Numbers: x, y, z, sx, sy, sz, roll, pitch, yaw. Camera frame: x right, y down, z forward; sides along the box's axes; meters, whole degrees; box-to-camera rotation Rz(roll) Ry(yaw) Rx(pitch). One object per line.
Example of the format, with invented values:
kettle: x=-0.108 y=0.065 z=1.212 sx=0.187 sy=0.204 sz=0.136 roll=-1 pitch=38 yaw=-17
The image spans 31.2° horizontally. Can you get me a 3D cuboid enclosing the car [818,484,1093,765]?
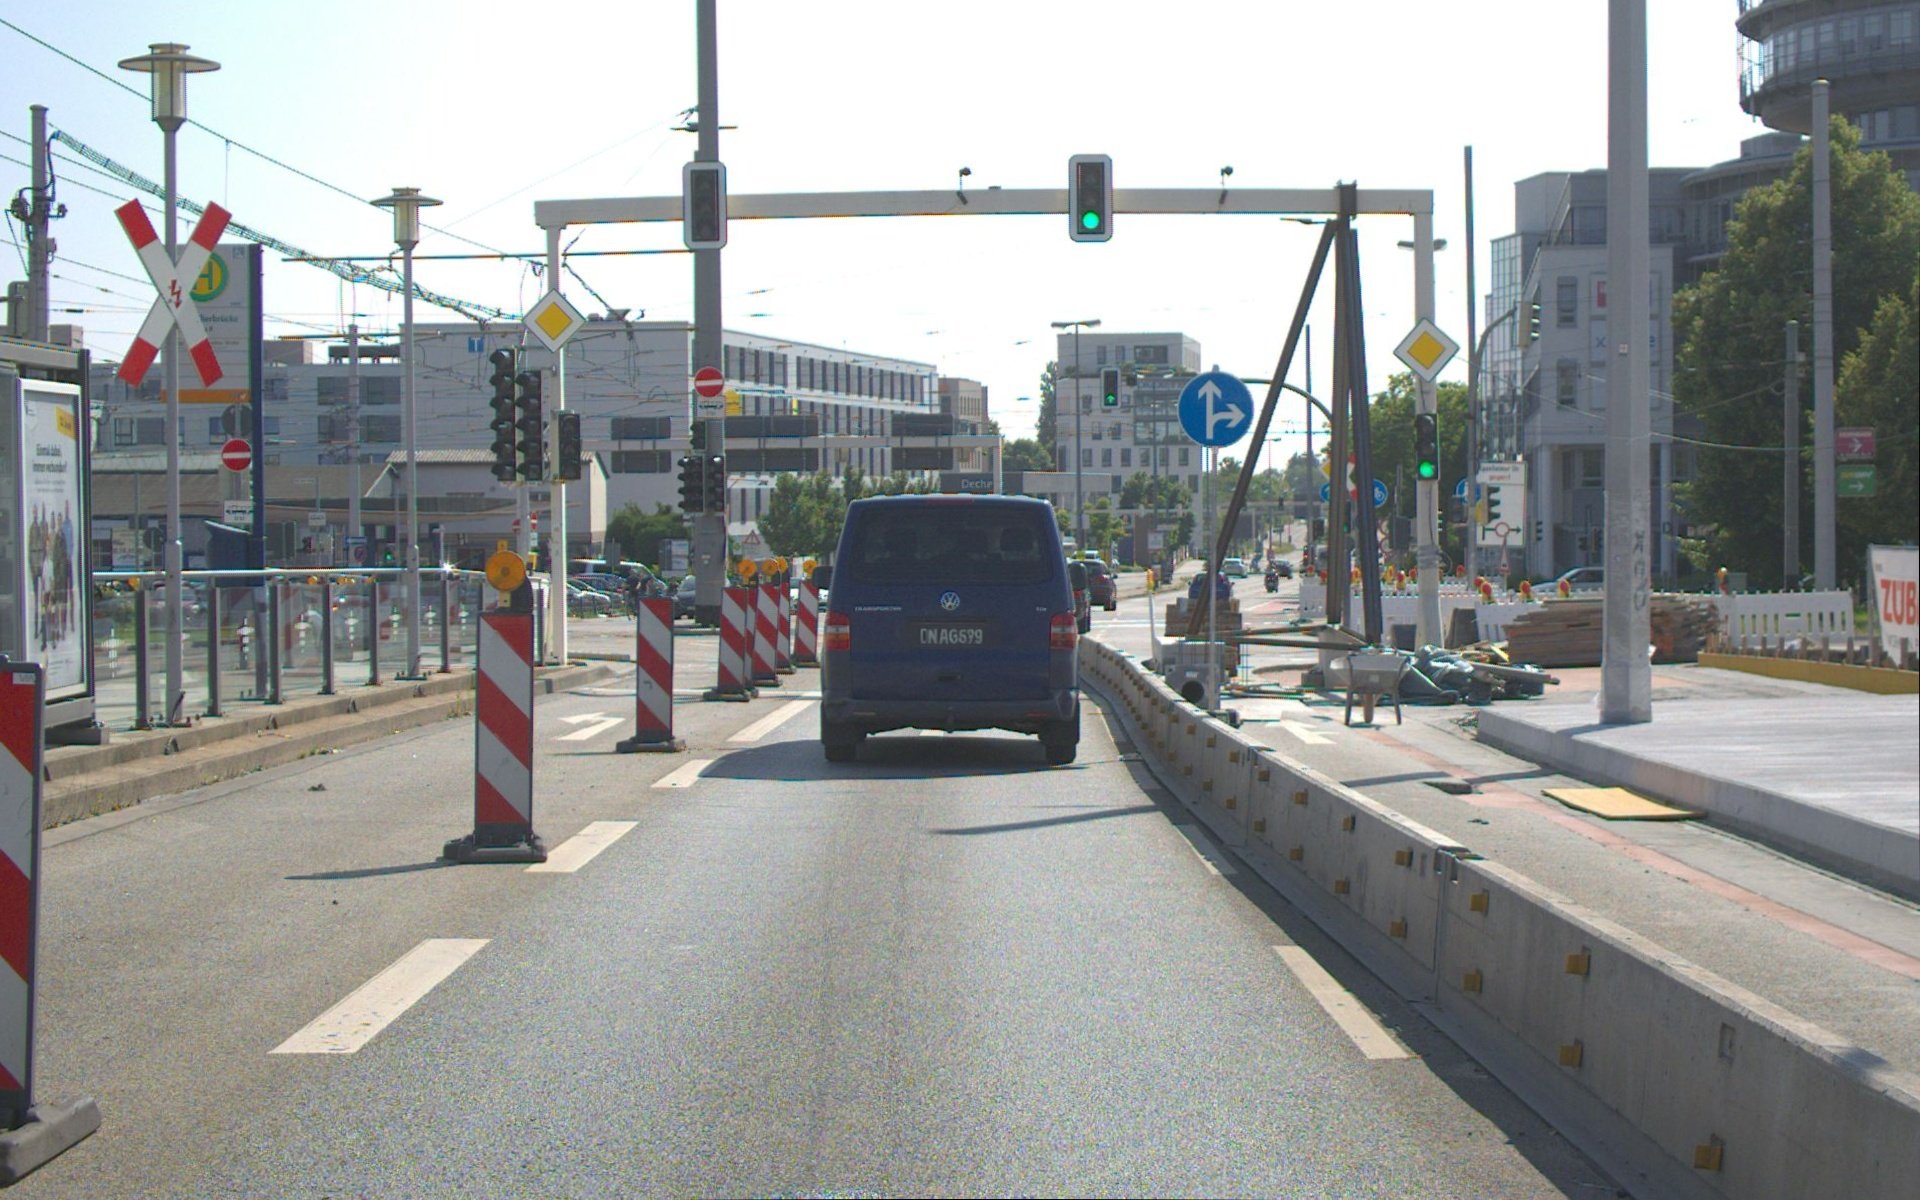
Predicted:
car: x=-0.029 y=0.111 z=26.138 sx=1.888 sy=1.927 sz=4.000 roll=1 pitch=2 yaw=0

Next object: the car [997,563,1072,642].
car: x=1.766 y=0.038 z=80.712 sx=1.645 sy=1.722 sz=4.000 roll=1 pitch=1 yaw=2

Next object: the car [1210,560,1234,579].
car: x=19.582 y=-2.293 z=257.061 sx=1.547 sy=1.335 sz=3.016 roll=1 pitch=1 yaw=-1

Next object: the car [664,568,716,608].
car: x=-10.425 y=-0.476 z=132.866 sx=1.747 sy=1.481 sz=4.000 roll=-1 pitch=1 yaw=-1

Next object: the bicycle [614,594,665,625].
bicycle: x=-11.656 y=0.340 z=125.041 sx=0.882 sy=1.066 sz=2.805 roll=4 pitch=1 yaw=15

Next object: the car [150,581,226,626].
car: x=-28.208 y=0.128 z=125.719 sx=1.777 sy=1.532 sz=4.000 roll=-2 pitch=1 yaw=1

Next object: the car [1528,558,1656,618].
car: x=20.472 y=-0.395 z=111.403 sx=3.813 sy=1.791 sz=1.681 roll=1 pitch=2 yaw=1

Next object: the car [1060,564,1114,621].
car: x=4.113 y=-0.258 z=111.238 sx=1.645 sy=1.722 sz=3.717 roll=1 pitch=1 yaw=2

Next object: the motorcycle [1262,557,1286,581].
motorcycle: x=16.968 y=-1.662 z=185.608 sx=1.162 sy=1.238 sz=3.007 roll=0 pitch=1 yaw=8

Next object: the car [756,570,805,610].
car: x=-6.909 y=-0.396 z=132.493 sx=1.747 sy=1.476 sz=4.000 roll=-1 pitch=1 yaw=-1

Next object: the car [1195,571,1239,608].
car: x=10.500 y=-0.446 z=140.737 sx=1.744 sy=1.470 sz=3.884 roll=0 pitch=1 yaw=4

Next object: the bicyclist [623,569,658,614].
bicyclist: x=-11.623 y=-0.322 z=125.003 sx=0.876 sy=1.573 sz=0.969 roll=4 pitch=1 yaw=15
